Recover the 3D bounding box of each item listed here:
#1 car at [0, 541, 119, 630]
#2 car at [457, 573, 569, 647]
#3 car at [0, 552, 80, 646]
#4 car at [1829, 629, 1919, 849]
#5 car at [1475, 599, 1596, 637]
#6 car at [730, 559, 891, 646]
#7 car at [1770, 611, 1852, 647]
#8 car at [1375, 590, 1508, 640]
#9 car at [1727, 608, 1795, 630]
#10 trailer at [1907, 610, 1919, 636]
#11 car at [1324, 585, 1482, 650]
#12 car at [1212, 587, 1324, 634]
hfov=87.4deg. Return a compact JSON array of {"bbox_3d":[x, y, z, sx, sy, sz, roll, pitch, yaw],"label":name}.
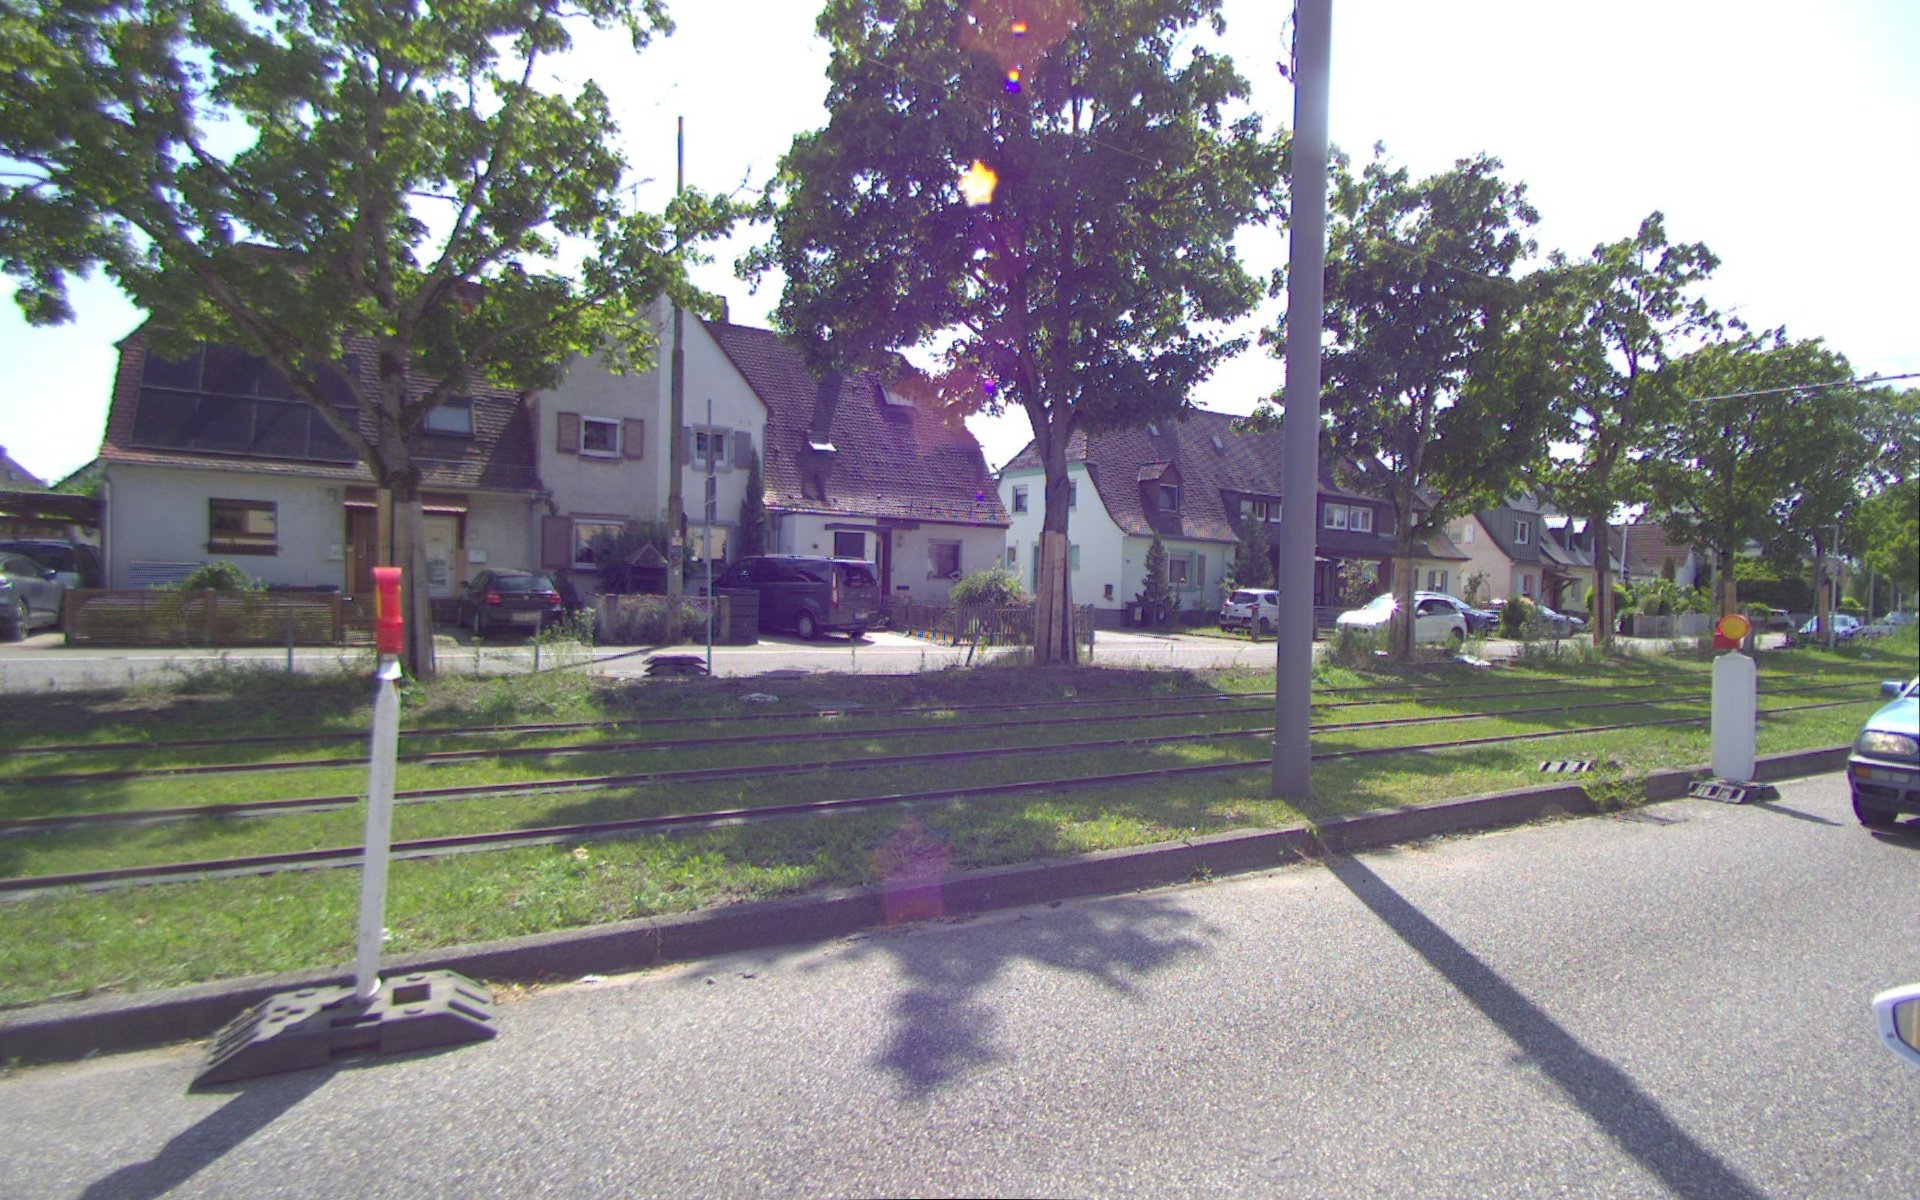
[{"bbox_3d":[-19.878,-0.354,21.914,1.779,1.761,3.964,1,2,-32],"label":"car"},{"bbox_3d":[-9.898,0.172,22.094,1.716,1.476,3.862,1,1,-32],"label":"car"},{"bbox_3d":[-17.383,-0.089,17.943,1.853,1.551,3.965,1,1,-32],"label":"car"},{"bbox_3d":[8.229,0.949,7.492,3.917,1.468,1.655,1,-2,-34],"label":"car"},{"bbox_3d":[26.578,0.808,46.515,1.908,1.544,4.436,1,1,-37],"label":"car"},{"bbox_3d":[-3.836,0.012,25.507,3.836,1.922,1.934,4,2,39],"label":"car"},{"bbox_3d":[36.802,1.232,43.395,4.771,1.425,1.805,1,1,-39],"label":"car"},{"bbox_3d":[19.646,0.585,41.147,2.046,1.861,4.436,1,1,-37],"label":"car"},{"bbox_3d":[61.531,1.456,77.203,3.946,1.592,1.783,2,1,45],"label":"car"},{"bbox_3d":[64.495,1.521,67.096,3.349,1.700,1.550,1,1,-43],"label":"trailer"},{"bbox_3d":[13.399,0.524,30.275,5.028,1.792,1.870,1,1,-33],"label":"car"},{"bbox_3d":[10.795,0.381,35.146,4.007,1.538,1.715,1,1,-37],"label":"car"}]
